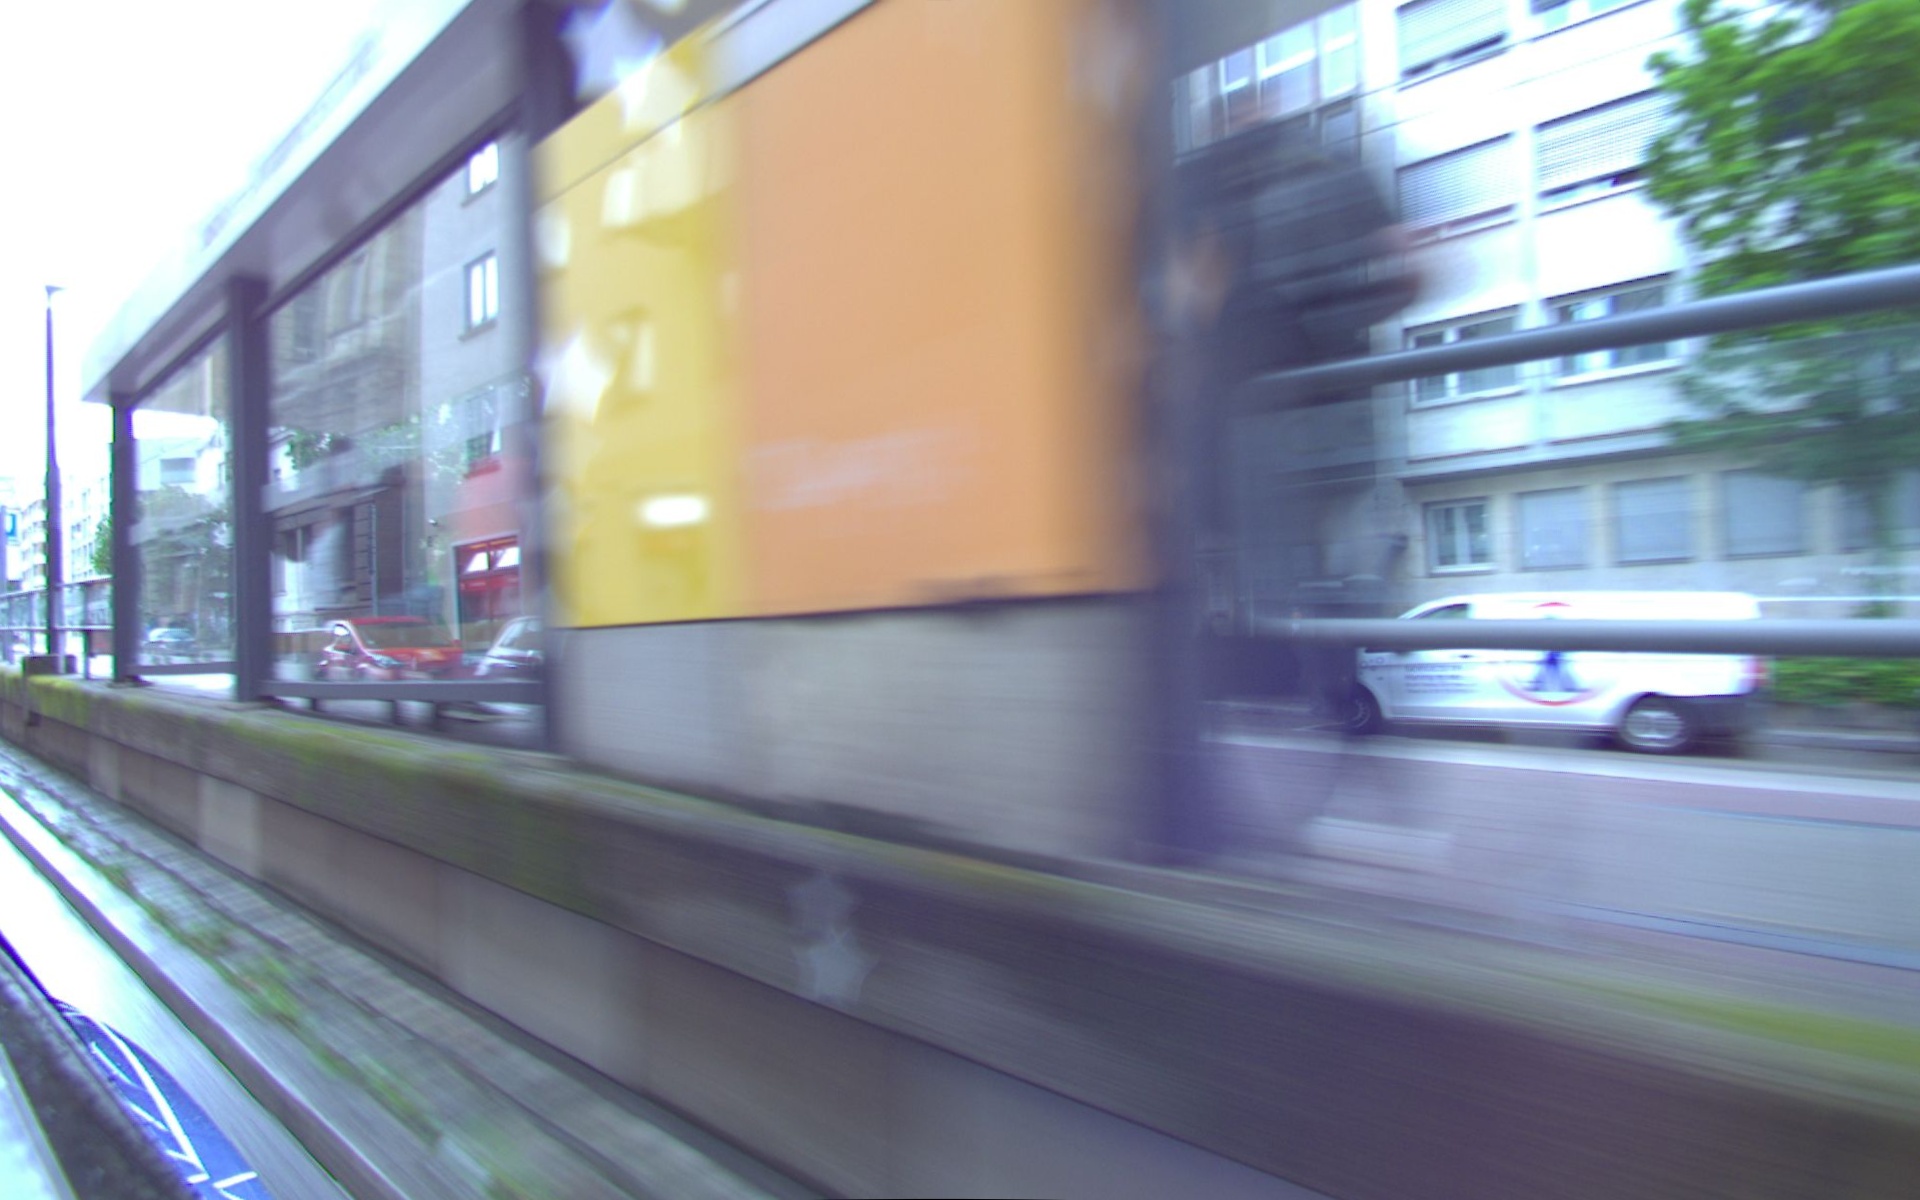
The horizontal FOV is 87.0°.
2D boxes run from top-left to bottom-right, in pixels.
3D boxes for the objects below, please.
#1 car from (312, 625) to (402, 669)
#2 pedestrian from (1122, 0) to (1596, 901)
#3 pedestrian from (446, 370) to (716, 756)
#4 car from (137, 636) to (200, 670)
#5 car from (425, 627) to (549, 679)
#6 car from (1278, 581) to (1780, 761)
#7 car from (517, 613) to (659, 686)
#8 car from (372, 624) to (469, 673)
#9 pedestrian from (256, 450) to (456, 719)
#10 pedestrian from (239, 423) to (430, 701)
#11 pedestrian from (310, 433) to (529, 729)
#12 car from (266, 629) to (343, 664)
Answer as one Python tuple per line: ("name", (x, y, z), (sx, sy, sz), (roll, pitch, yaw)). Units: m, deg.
("car", (-23.209, 1.772, 38.889), (4.334, 1.596, 1.641), (-1, -2, 40))
("pedestrian", (0.810, -0.389, 2.037), (0.700, 1.706, 0.704), (-1, -2, 38))
("pedestrian", (-1.464, -0.115, 3.937), (0.700, 1.312, 0.721), (-1, -2, 38))
("car", (-37.147, 2.459, 47.450), (3.962, 1.473, 1.621), (-1, -2, 41))
("car", (-14.593, 1.573, 31.113), (4.726, 1.451, 1.622), (-1, -2, 40))
("car", (6.969, 0.792, 12.863), (5.249, 1.858, 1.889), (-1, -1, 37))
("car", (-10.234, 1.306, 27.702), (4.428, 1.831, 1.657), (-1, -2, 40))
("car", (-18.534, 1.623, 34.713), (4.021, 1.549, 1.621), (-1, -2, 41))
("pedestrian", (-3.232, -0.063, 5.430), (0.700, 1.312, 0.720), (-1, -2, 40))
("pedestrian", (-4.250, -0.225, 6.897), (0.700, 1.737, 0.907), (-1, -2, 38))
("pedestrian", (-2.652, -0.076, 4.983), (0.700, 1.312, 0.721), (-1, -2, 38))
("car", (-27.721, 1.933, 42.742), (4.456, 1.386, 1.695), (-1, -2, 42))
